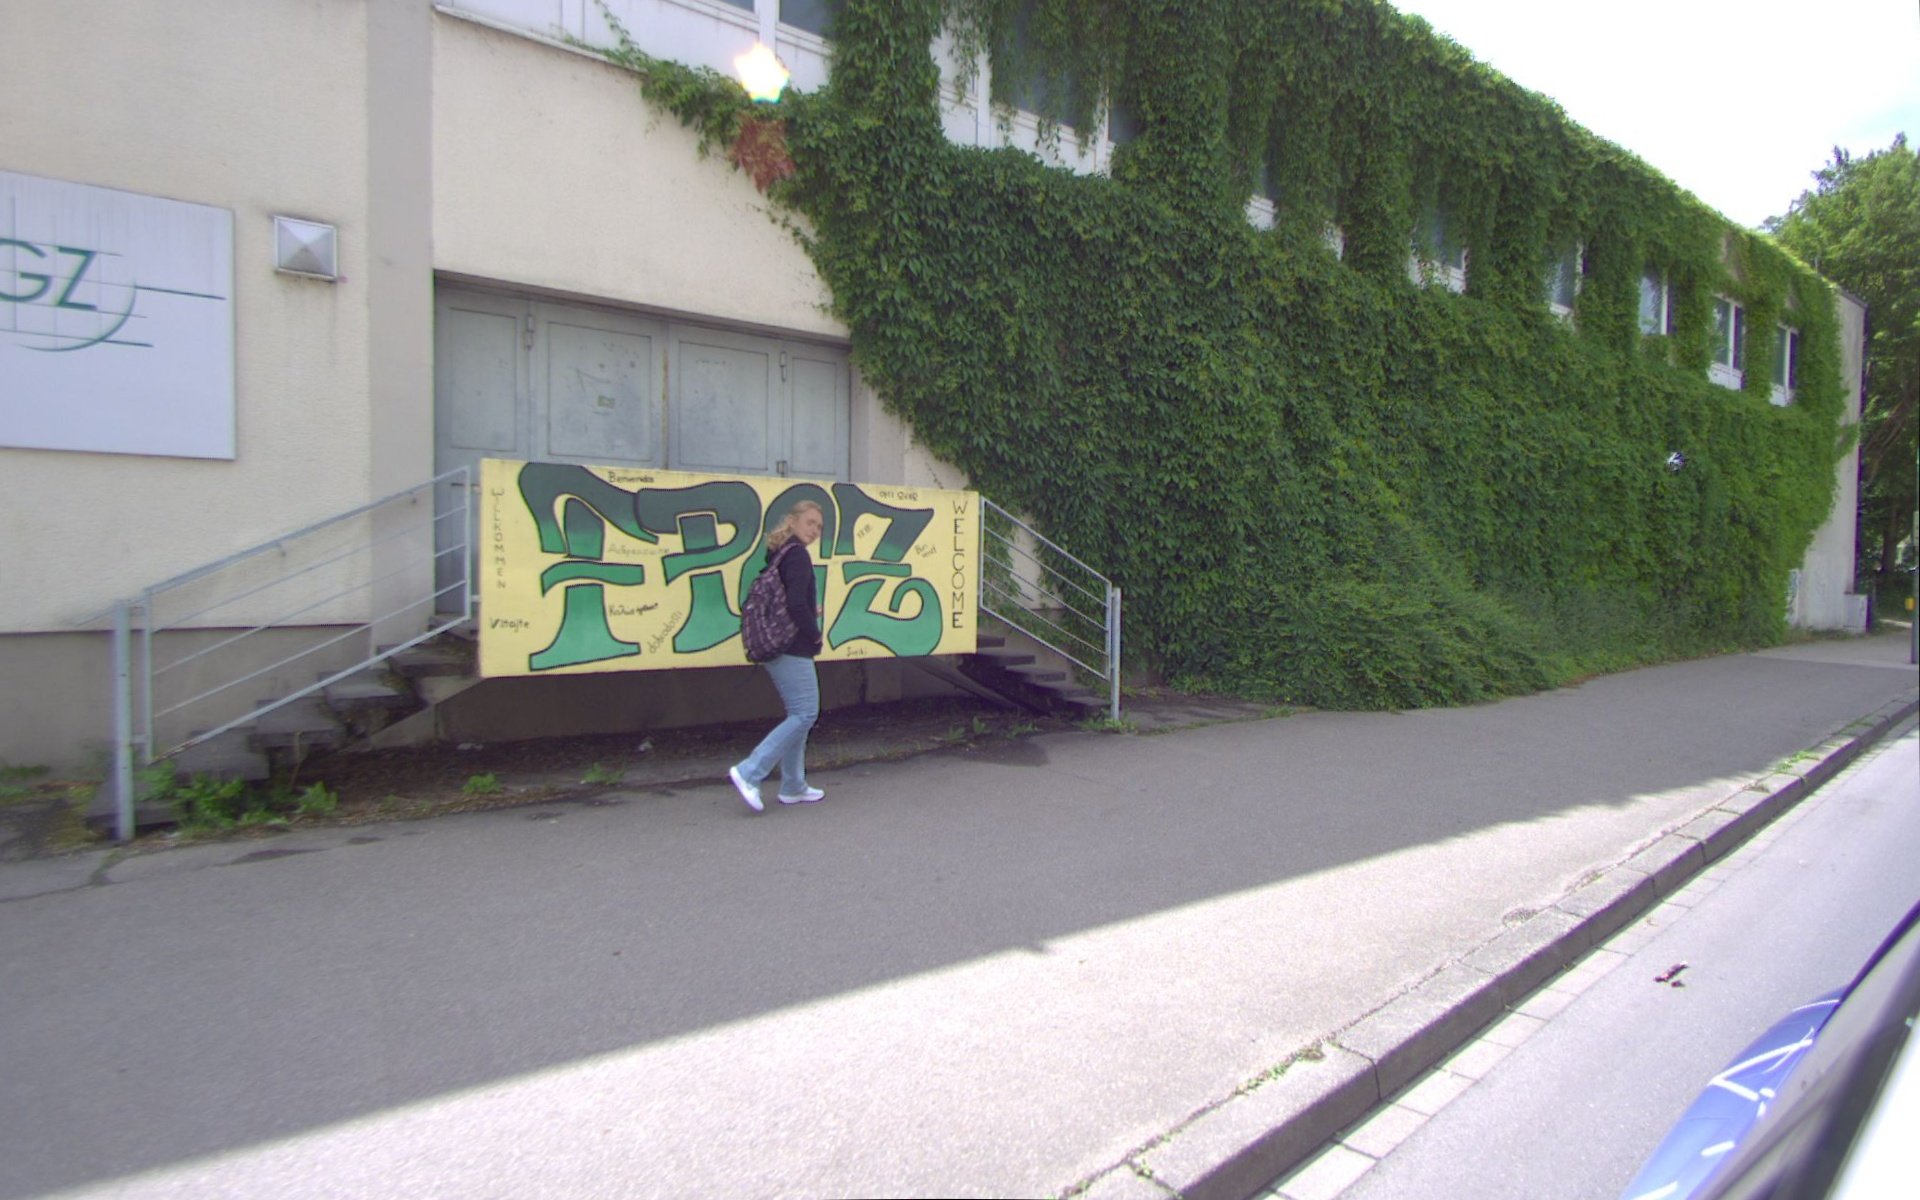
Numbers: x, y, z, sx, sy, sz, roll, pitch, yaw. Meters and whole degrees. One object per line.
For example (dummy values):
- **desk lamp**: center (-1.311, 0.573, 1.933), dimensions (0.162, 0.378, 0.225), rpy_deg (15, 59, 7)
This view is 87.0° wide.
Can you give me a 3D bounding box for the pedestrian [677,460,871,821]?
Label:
- **pedestrian**: center (-1.040, 0.170, 5.547), dimensions (0.800, 1.792, 0.813), rpy_deg (-1, 4, -31)
